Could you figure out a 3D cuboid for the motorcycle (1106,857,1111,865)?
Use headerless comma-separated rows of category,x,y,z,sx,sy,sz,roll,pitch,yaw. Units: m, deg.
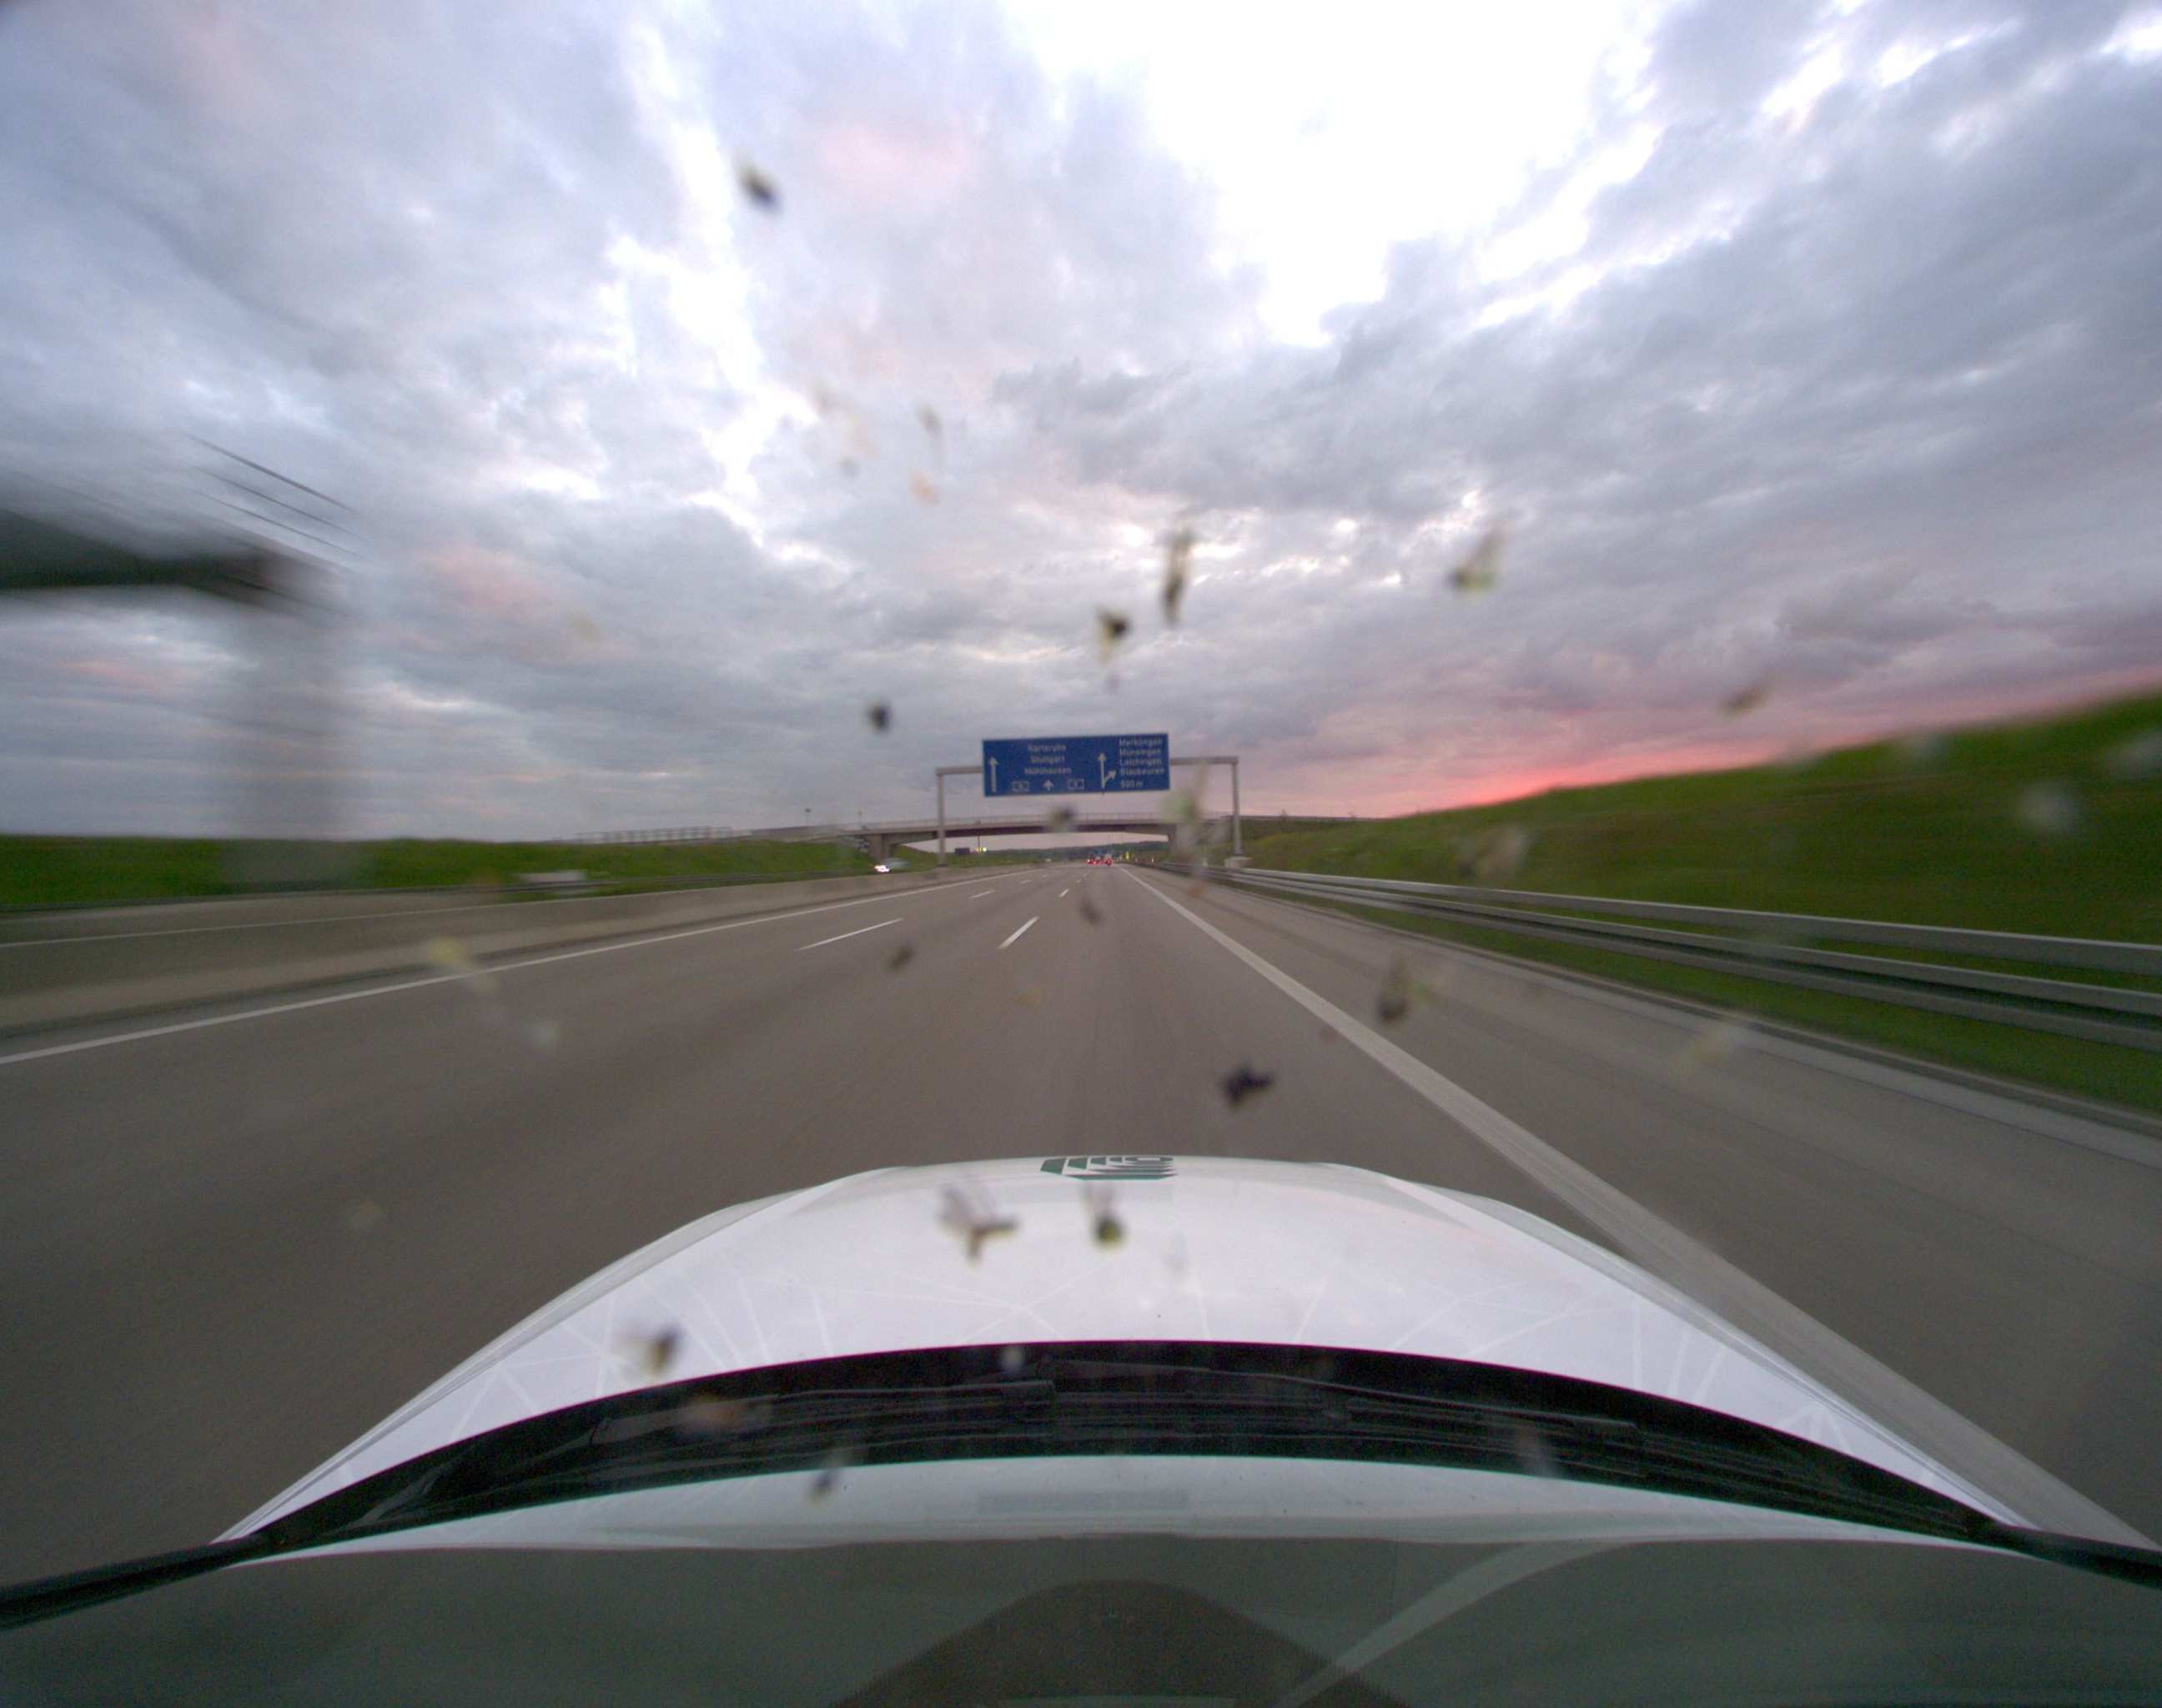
motorcycle,5.079,1.272,149.555,0.898,1.346,2.349,-1,0,2

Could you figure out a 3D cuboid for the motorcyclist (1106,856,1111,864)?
motorcyclist,5.072,1.076,149.607,0.862,1.488,1.169,0,-1,3
